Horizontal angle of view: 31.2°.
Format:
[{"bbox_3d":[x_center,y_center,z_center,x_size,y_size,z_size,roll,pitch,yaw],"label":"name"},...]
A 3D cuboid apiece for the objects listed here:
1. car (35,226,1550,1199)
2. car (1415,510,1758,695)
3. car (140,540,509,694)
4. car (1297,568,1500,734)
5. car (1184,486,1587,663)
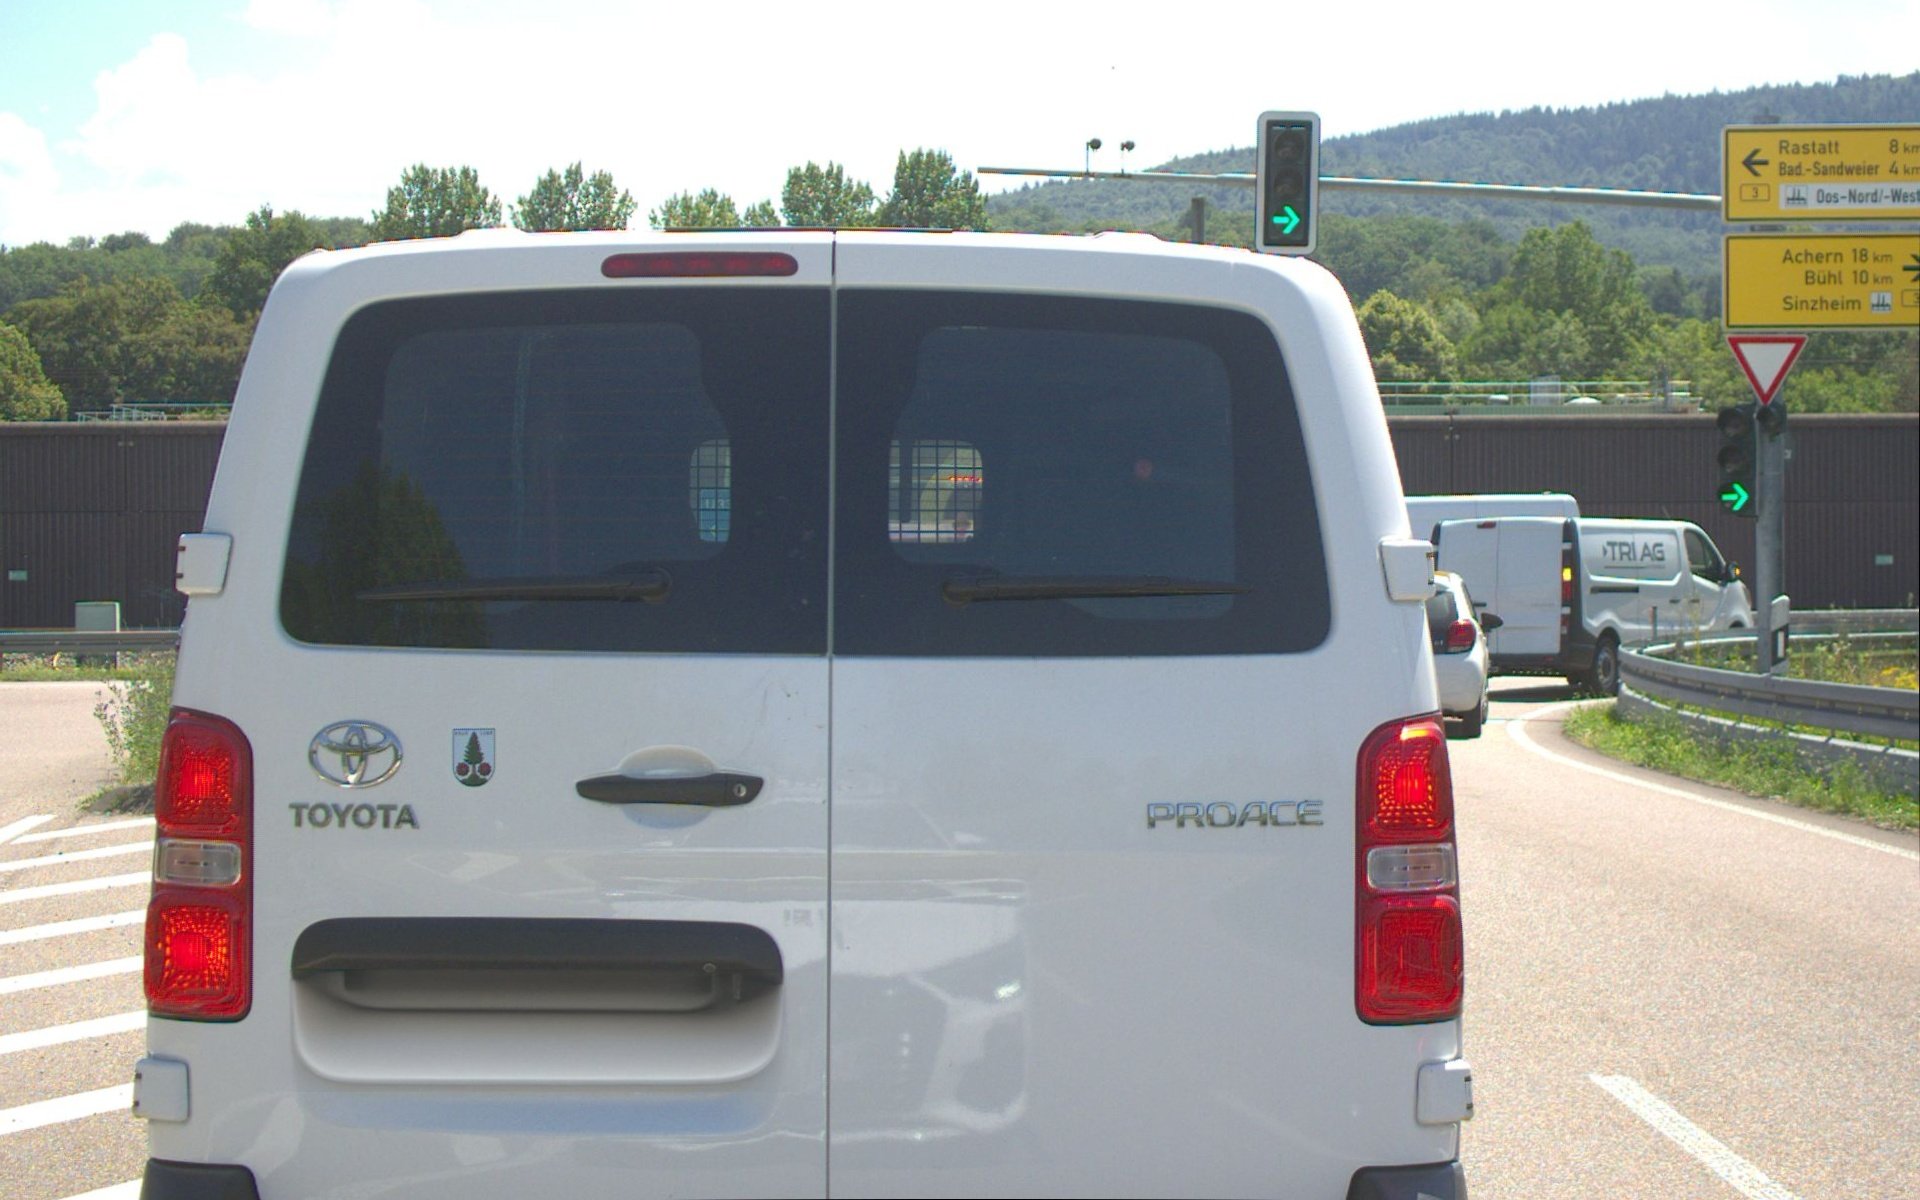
[{"bbox_3d":[-0.254,0.464,6.314,1.886,1.880,4.000,1,0,-1],"label":"car"},{"bbox_3d":[7.278,0.013,39.554,1.933,1.993,4.827,1,1,36],"label":"car"},{"bbox_3d":[-7.190,0.158,39.335,1.996,1.651,4.318,1,1,26],"label":"car"},{"bbox_3d":[4.077,0.429,31.621,1.656,1.426,3.364,1,0,10],"label":"car"},{"bbox_3d":[5.994,-0.361,48.766,5.343,2.442,2.040,0,1,-6],"label":"car"}]
